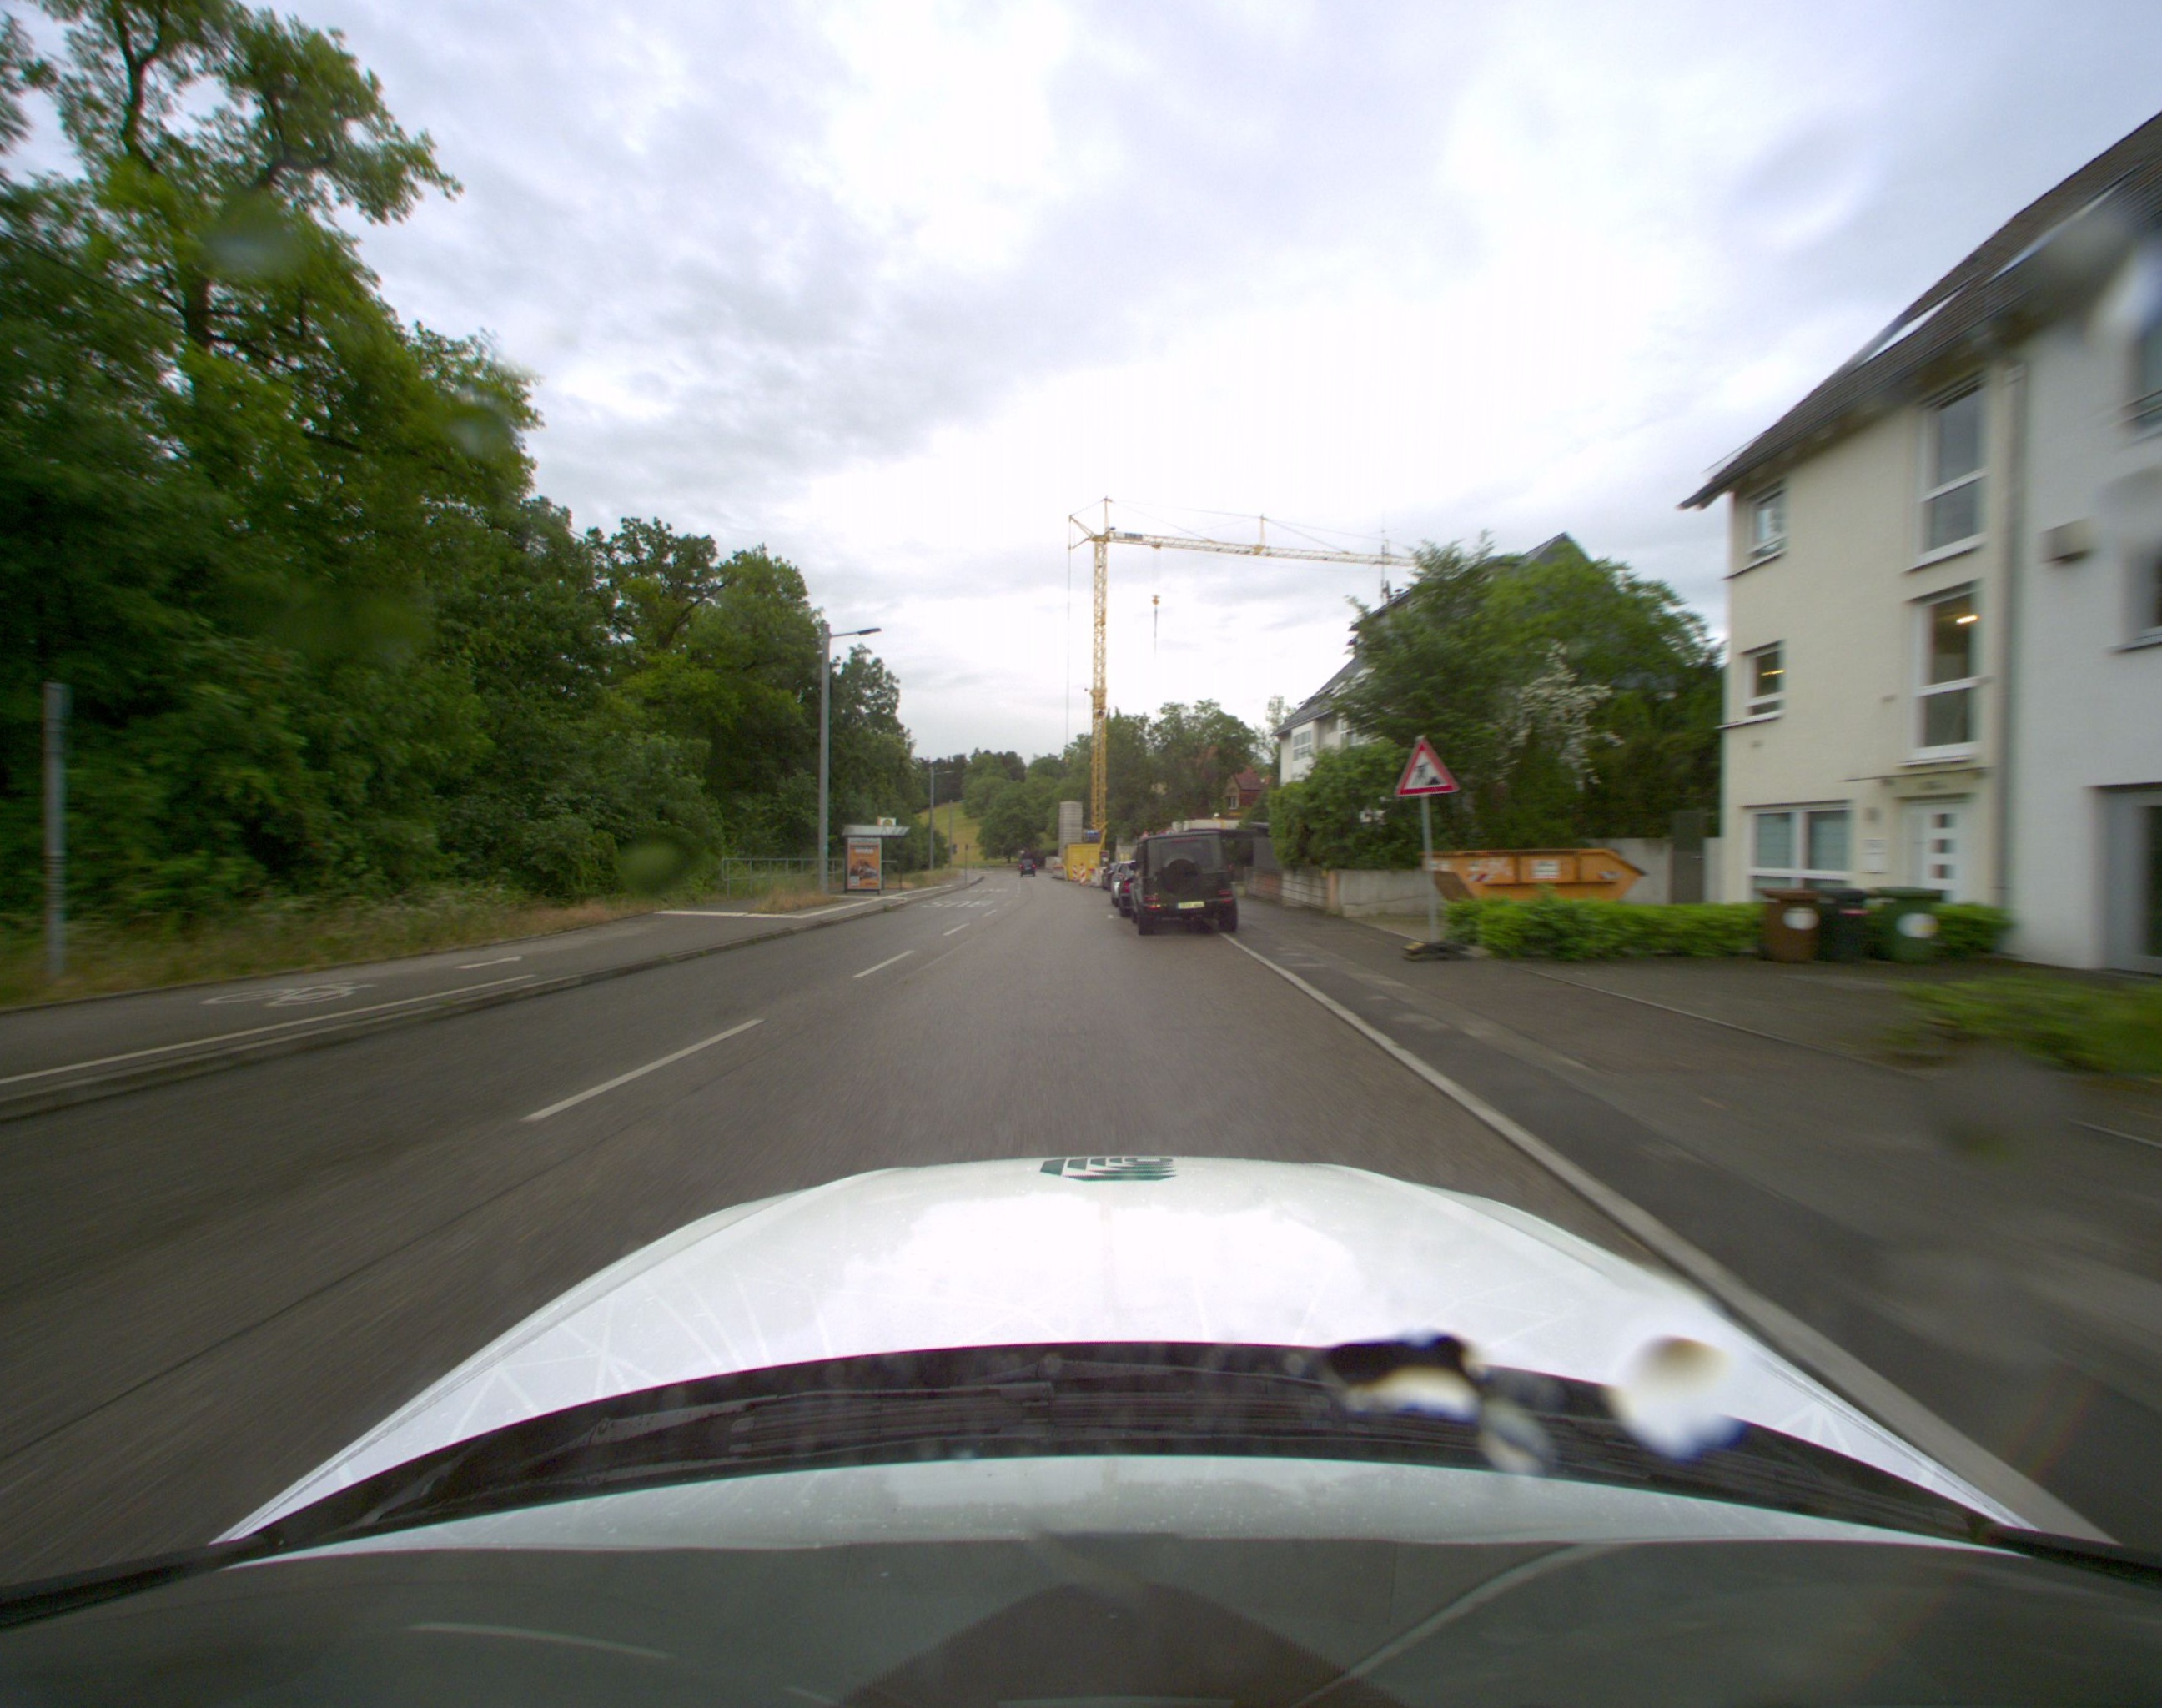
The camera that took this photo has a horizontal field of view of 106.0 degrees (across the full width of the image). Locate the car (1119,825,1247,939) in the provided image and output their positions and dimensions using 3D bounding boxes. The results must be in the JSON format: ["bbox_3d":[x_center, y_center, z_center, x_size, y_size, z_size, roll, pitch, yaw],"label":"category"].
[{"bbox_3d":[2.003,0.546,17.569,1.988,2.013,4.954,-3,-1,-1],"label":"car"}]

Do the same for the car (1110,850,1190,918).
[{"bbox_3d":[1.813,0.779,22.636,1.924,1.596,4.397,-3,-1,2],"label":"car"}]

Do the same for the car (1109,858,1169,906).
[{"bbox_3d":[1.851,0.876,26.823,1.668,1.457,3.384,-1,-1,-1],"label":"car"}]

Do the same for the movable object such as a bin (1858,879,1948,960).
[{"bbox_3d":[10.238,0.801,10.154,0.505,0.955,0.595,-1,-1,0],"label":"movable object such as a bin"}]

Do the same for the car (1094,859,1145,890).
[{"bbox_3d":[1.883,0.995,41.186,1.929,1.422,4.828,-1,0,-5],"label":"car"}]

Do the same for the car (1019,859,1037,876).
[{"bbox_3d":[-5.881,1.528,90.688,1.928,1.751,3.994,-2,-1,-4],"label":"car"}]

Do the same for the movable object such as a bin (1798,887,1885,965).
[{"bbox_3d":[9.455,0.886,10.140,0.505,0.911,0.595,-1,-1,0],"label":"movable object such as a bin"}]

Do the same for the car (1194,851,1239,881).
[{"bbox_3d":[7.258,0.644,44.033,1.690,1.472,3.998,2,-1,-1],"label":"car"}]

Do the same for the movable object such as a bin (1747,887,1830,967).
[{"bbox_3d":[8.835,0.900,10.182,0.505,0.941,0.595,-1,-1,0],"label":"movable object such as a bin"}]
